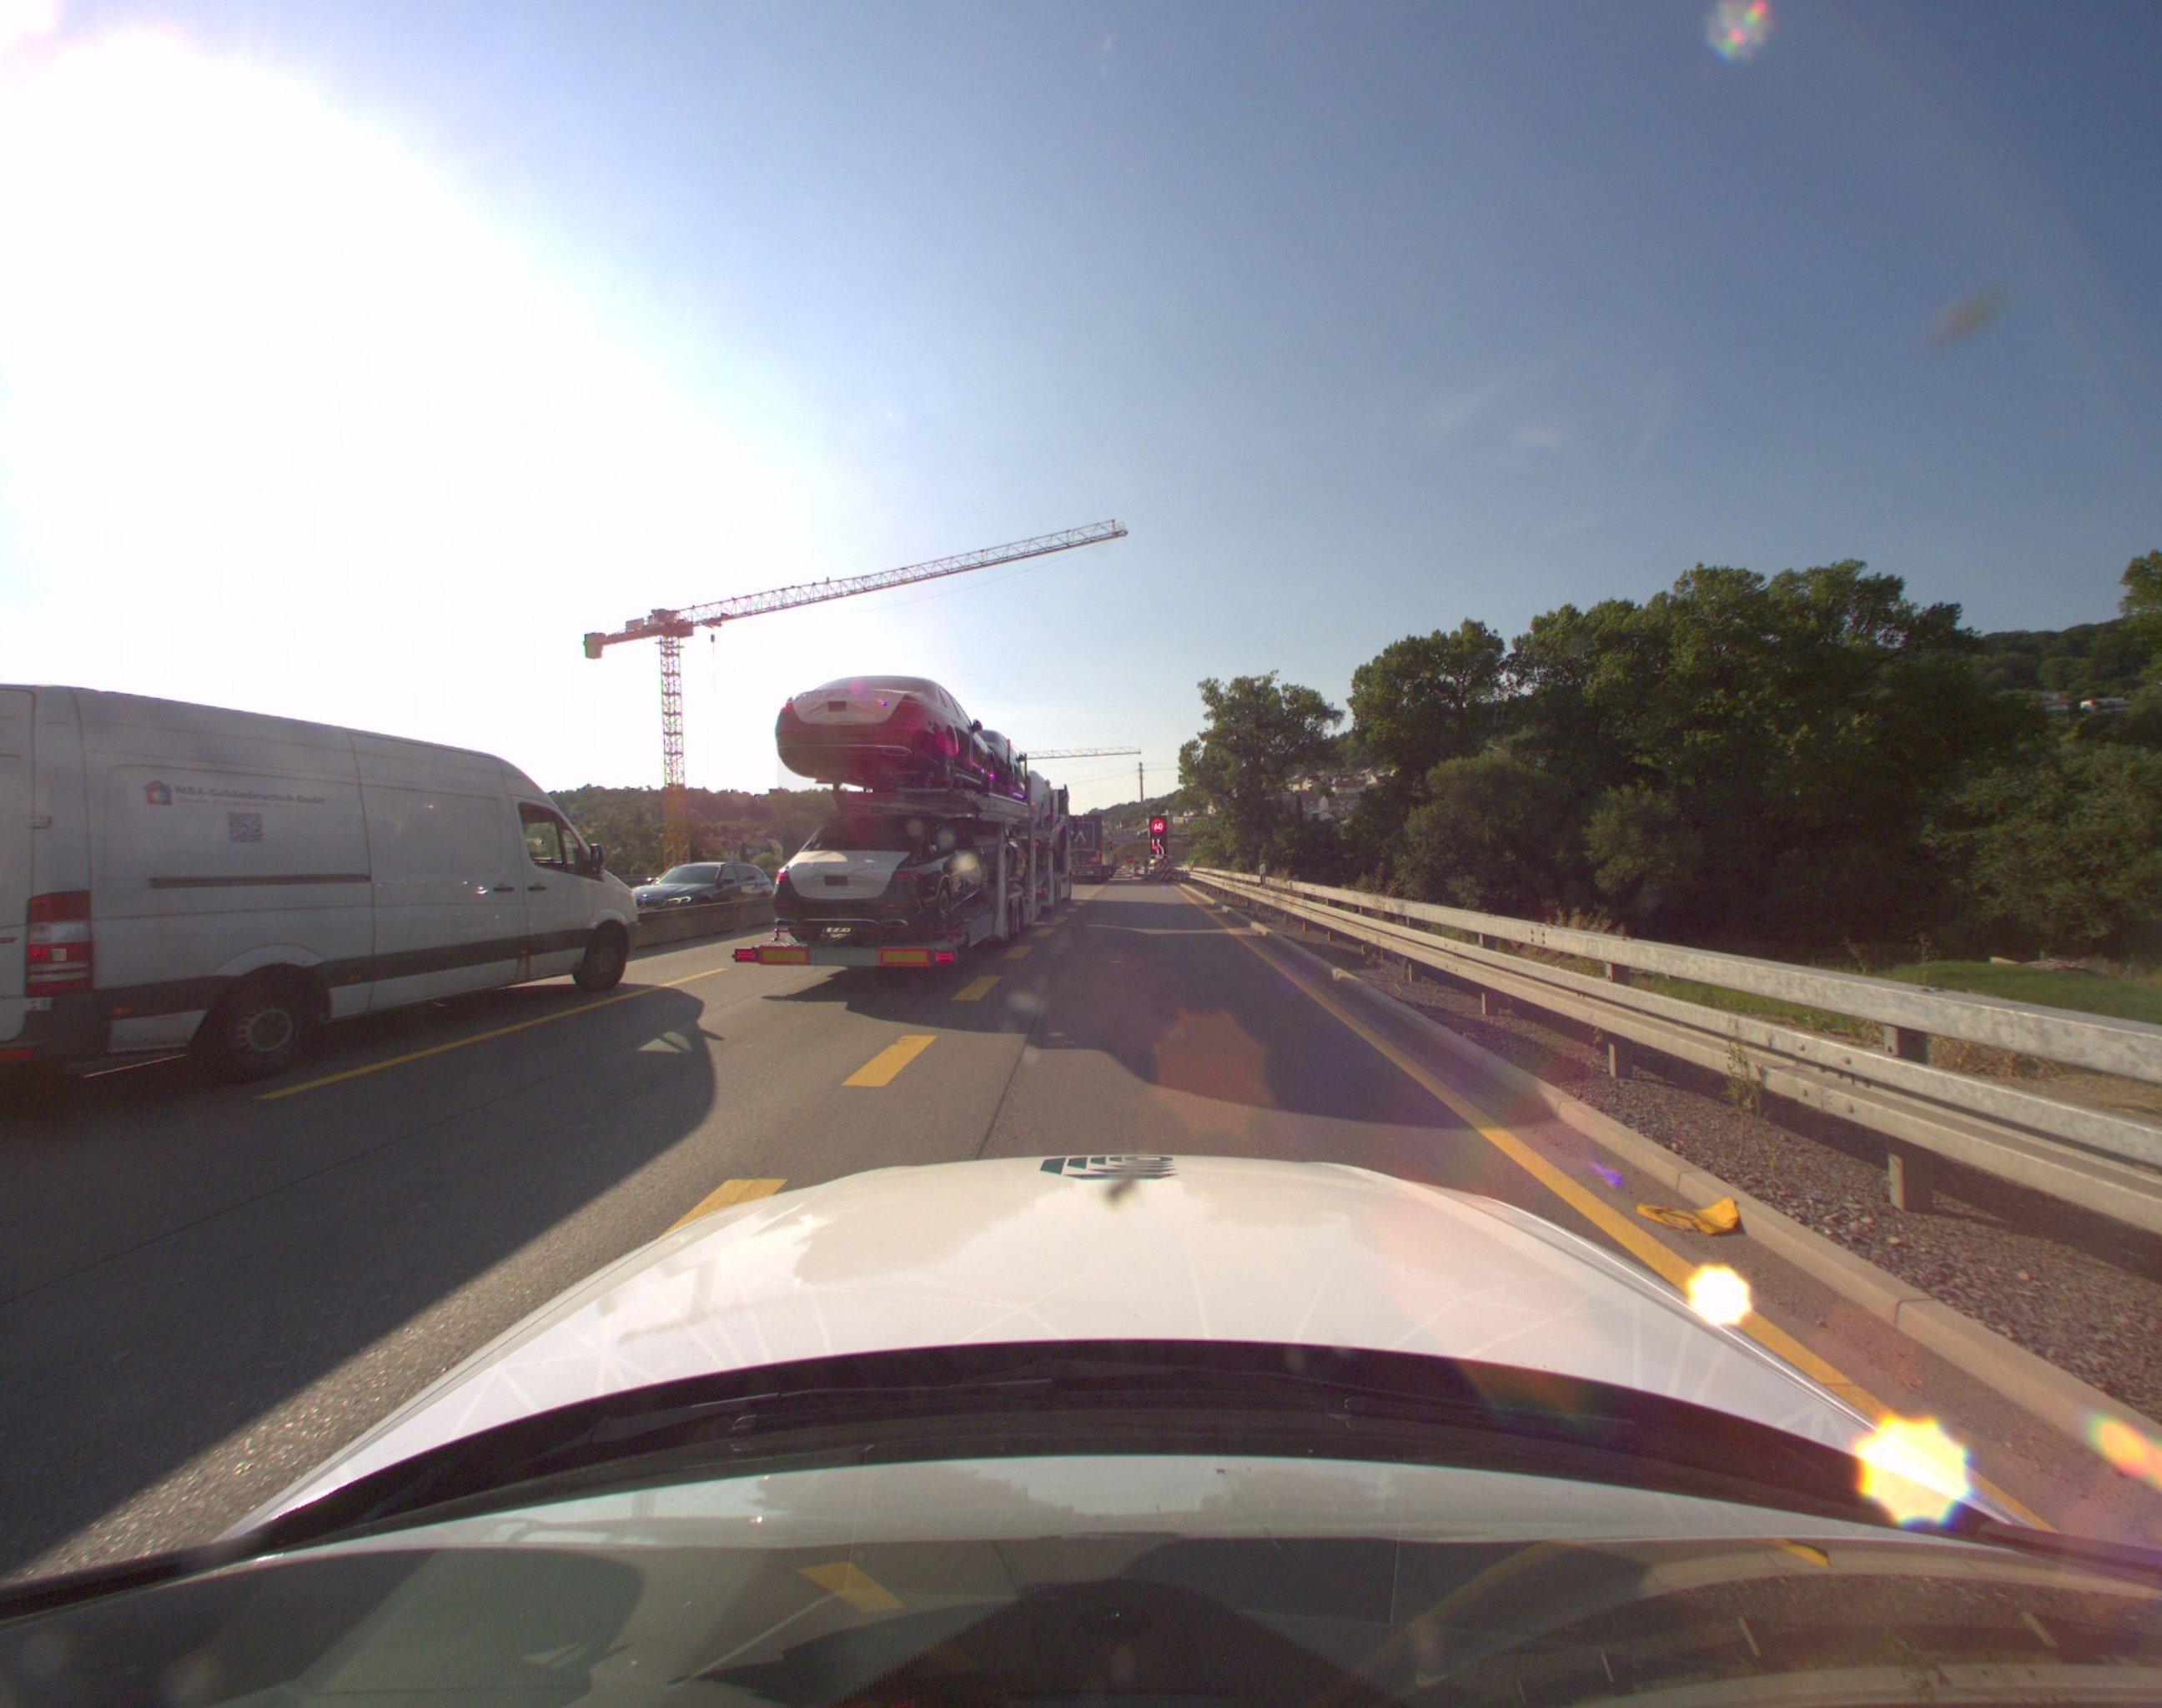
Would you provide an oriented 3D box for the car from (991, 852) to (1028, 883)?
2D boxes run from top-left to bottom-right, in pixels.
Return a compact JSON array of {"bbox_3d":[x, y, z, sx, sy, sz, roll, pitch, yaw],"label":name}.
[{"bbox_3d":[-4.446,0.841,51.291,1.824,1.752,4.001,-3,-1,1],"label":"car"}]

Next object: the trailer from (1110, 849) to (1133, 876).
[{"bbox_3d":[6.535,1.288,130.962,3.371,3.996,14.756,-2,0,3],"label":"trailer"}]

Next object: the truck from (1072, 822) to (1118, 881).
[{"bbox_3d":[1.084,-0.146,59.784,2.872,3.996,6.632,-2,-1,4],"label":"truck"}]

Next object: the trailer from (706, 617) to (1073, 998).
[{"bbox_3d":[-2.144,-0.446,16.598,2.845,3.996,15.758,-2,0,3],"label":"trailer"}]

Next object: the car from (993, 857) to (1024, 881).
[{"bbox_3d":[-5.481,1.108,61.599,1.824,1.654,4.001,-3,-1,1],"label":"car"}]

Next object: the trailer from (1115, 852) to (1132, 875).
[{"bbox_3d":[8.807,1.945,168.526,3.090,4.314,14.263,-2,0,3],"label":"trailer"}]

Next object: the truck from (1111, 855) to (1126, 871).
[{"bbox_3d":[10.429,2.451,224.094,4.012,4.285,6.629,-2,-1,3],"label":"truck"}]

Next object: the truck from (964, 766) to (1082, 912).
[{"bbox_3d":[-1.634,-0.396,26.114,2.836,3.996,6.629,-2,-1,3],"label":"truck"}]

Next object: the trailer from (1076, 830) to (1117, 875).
[{"bbox_3d":[1.737,-0.088,80.481,3.371,3.996,14.756,-2,0,3],"label":"trailer"}]

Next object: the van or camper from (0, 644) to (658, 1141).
[{"bbox_3d":[-6.487,0.231,7.246,1.985,2.620,5.910,-1,0,4],"label":"van or camper"}]

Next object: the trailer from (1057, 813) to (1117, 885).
[{"bbox_3d":[0.575,-0.244,52.822,2.945,4.092,10.805,-3,-1,4],"label":"trailer"}]

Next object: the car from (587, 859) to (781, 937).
[{"bbox_3d":[-8.874,0.910,18.740,1.985,1.465,4.539,-3,-1,3],"label":"car"}]

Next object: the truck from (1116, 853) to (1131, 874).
[{"bbox_3d":[9.175,2.000,175.264,3.085,4.285,6.629,-2,-1,3],"label":"truck"}]

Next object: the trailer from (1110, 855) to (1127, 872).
[{"bbox_3d":[10.069,2.417,217.649,4.080,4.314,14.263,-2,0,3],"label":"trailer"}]
